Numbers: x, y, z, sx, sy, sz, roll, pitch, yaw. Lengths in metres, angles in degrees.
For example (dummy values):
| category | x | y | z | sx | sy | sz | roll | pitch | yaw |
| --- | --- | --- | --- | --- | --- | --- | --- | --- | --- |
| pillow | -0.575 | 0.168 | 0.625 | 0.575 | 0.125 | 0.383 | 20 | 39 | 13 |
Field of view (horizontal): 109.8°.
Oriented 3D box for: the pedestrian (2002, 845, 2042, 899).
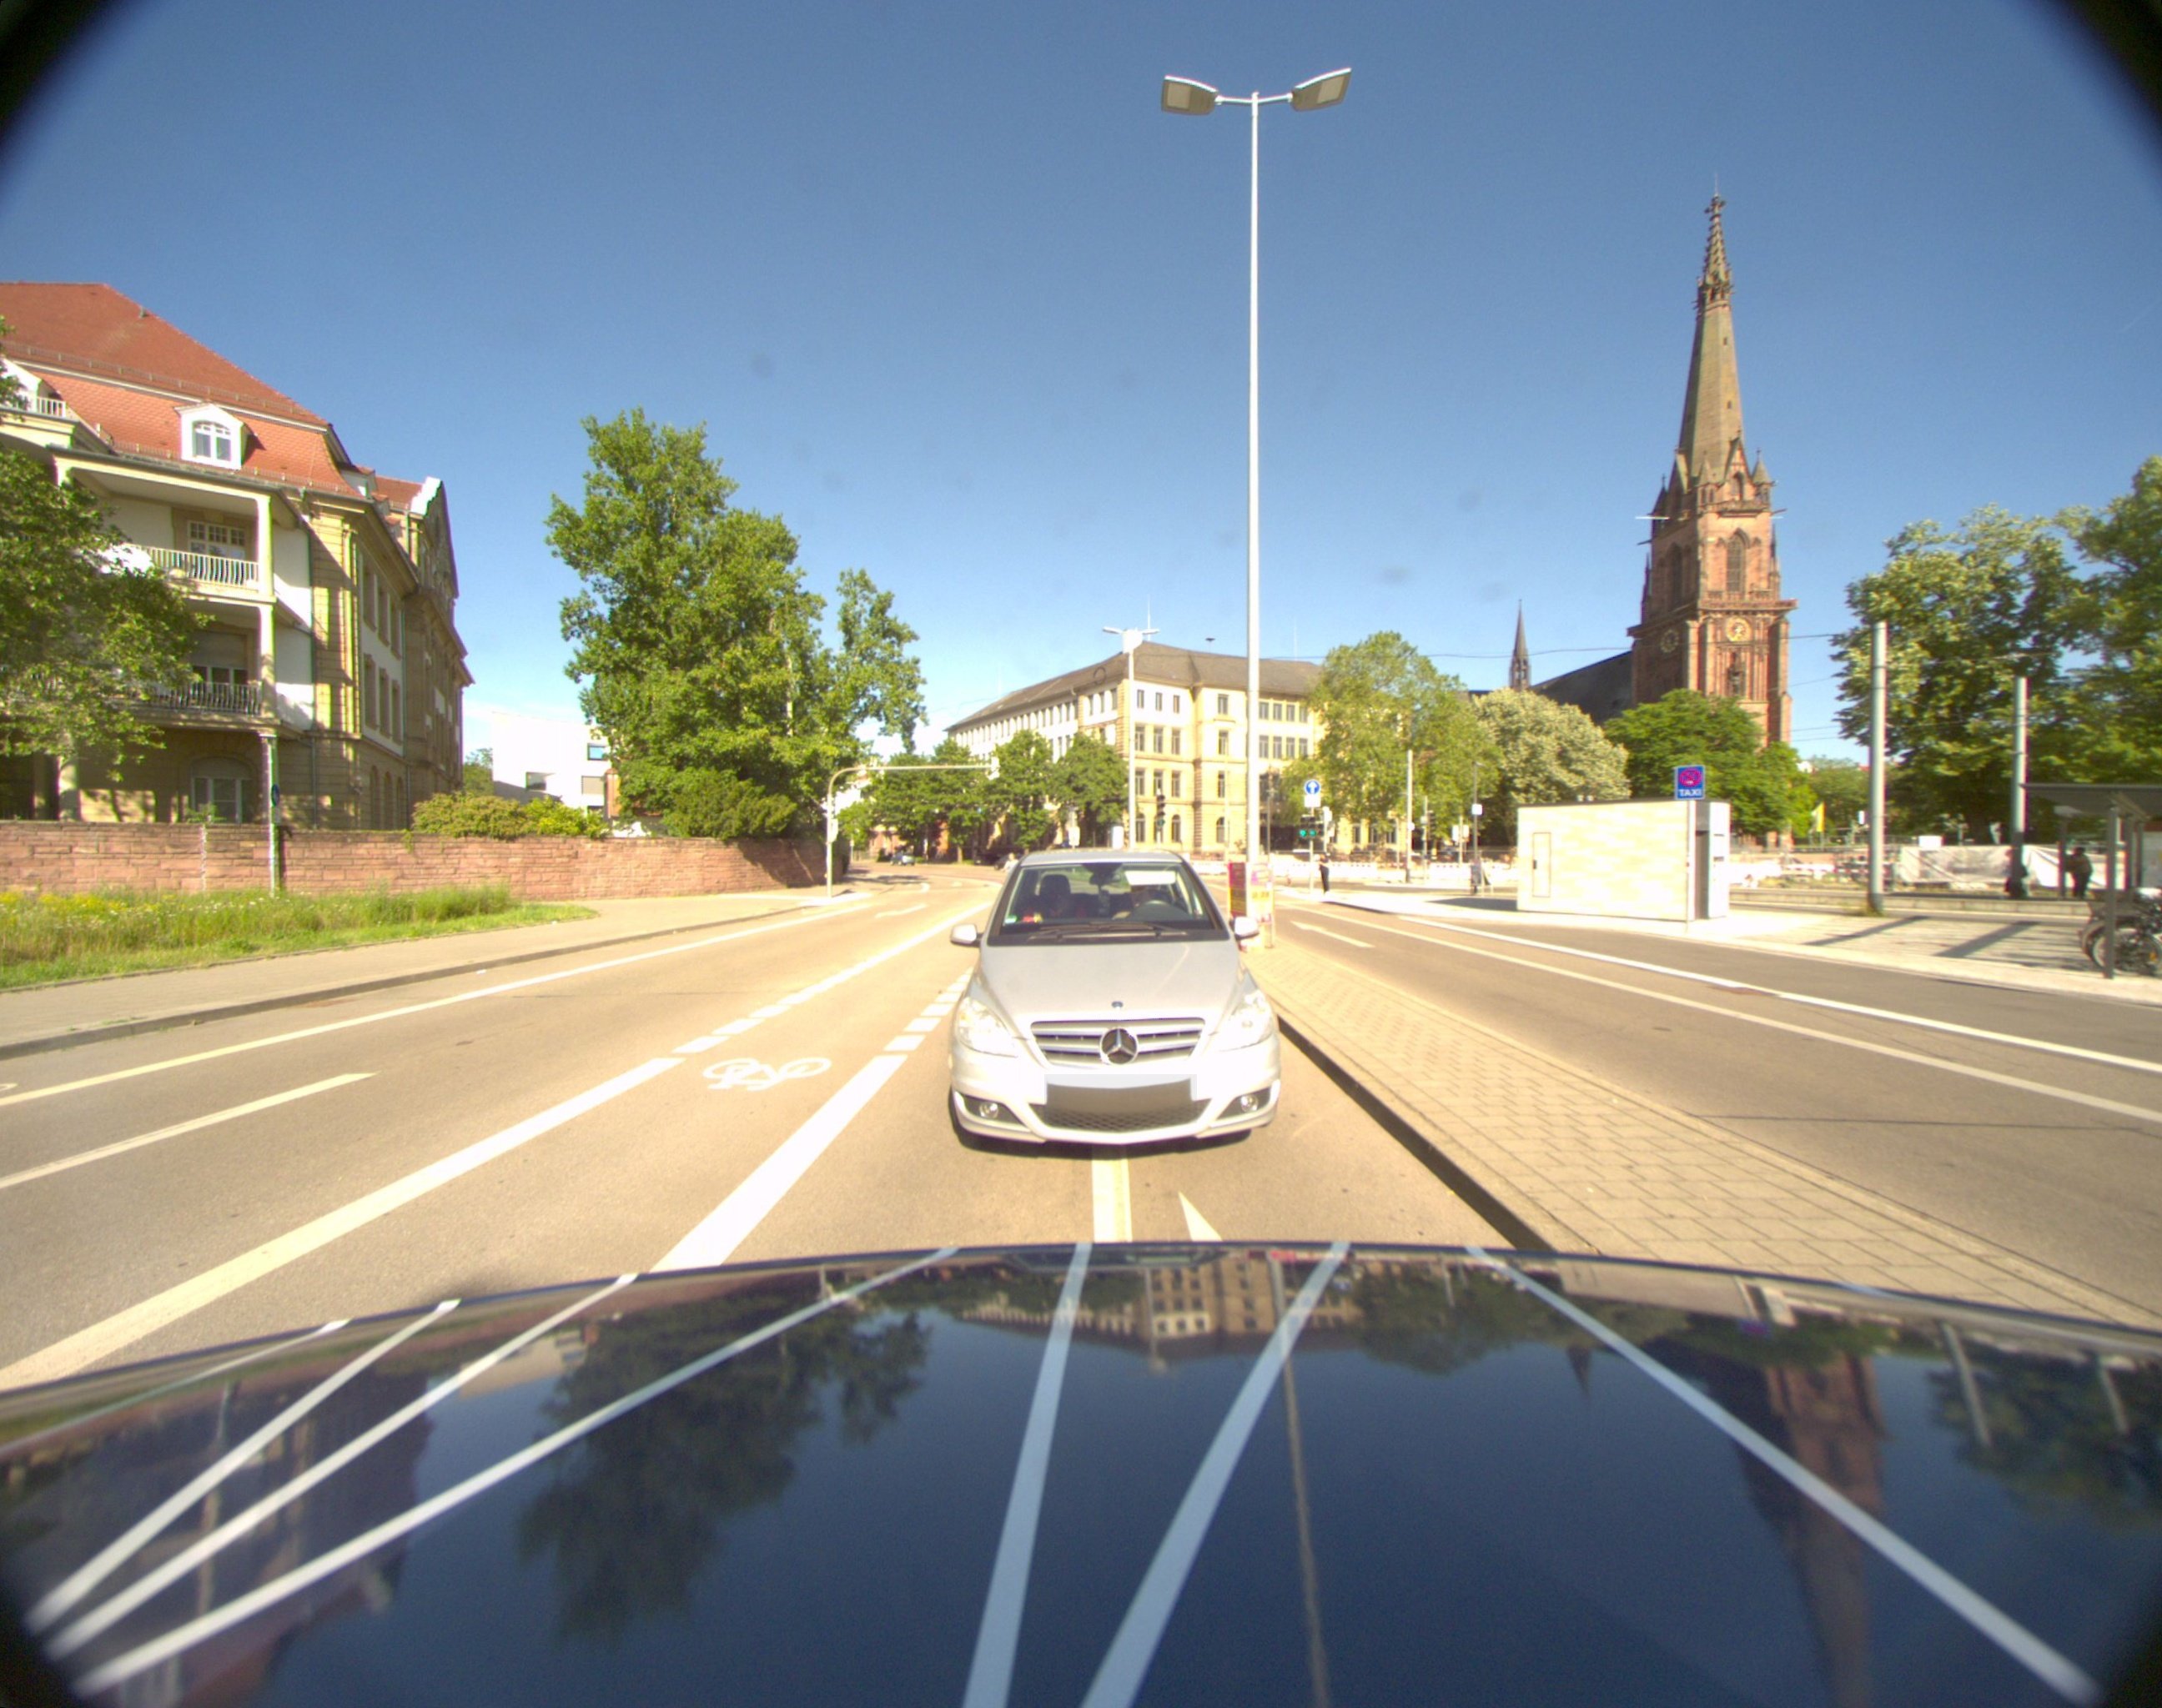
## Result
| category | x | y | z | sx | sy | sz | roll | pitch | yaw |
| --- | --- | --- | --- | --- | --- | --- | --- | --- | --- |
| pedestrian | 31.817 | 0.595 | 25.683 | 0.980 | 1.769 | 0.801 | -1 | 1 | -37 |

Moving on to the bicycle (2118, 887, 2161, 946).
| category | x | y | z | sx | sy | sz | roll | pitch | yaw |
| --- | --- | --- | --- | --- | --- | --- | --- | --- | --- |
| bicycle | 19.121 | 1.099 | 12.948 | 0.458 | 1.003 | 1.667 | -1 | 1 | -33 |

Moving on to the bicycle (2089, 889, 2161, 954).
| category | x | y | z | sx | sy | sz | roll | pitch | yaw |
| --- | --- | --- | --- | --- | --- | --- | --- | --- | --- |
| bicycle | 17.907 | 1.127 | 12.427 | 0.458 | 1.003 | 1.667 | -1 | 1 | -33 |

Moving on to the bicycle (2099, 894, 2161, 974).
| category | x | y | z | sx | sy | sz | roll | pitch | yaw |
| --- | --- | --- | --- | --- | --- | --- | --- | --- | --- |
| bicycle | 15.194 | 1.123 | 10.279 | 0.458 | 1.055 | 1.667 | -1 | 1 | -33 |

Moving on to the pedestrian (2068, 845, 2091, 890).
| category | x | y | z | sx | sy | sz | roll | pitch | yaw |
| --- | --- | --- | --- | --- | --- | --- | --- | --- | --- |
| pedestrian | 37.565 | 0.500 | 28.577 | 0.404 | 1.711 | 0.419 | 1 | 1 | 38 |

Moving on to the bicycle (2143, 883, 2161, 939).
| category | x | y | z | sx | sy | sz | roll | pitch | yaw |
| --- | --- | --- | --- | --- | --- | --- | --- | --- | --- |
| bicycle | 20.481 | 1.063 | 13.610 | 0.458 | 1.003 | 1.667 | -1 | 1 | -33 |

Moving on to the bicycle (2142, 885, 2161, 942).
| category | x | y | z | sx | sy | sz | roll | pitch | yaw |
| --- | --- | --- | --- | --- | --- | --- | --- | --- | --- |
| bicycle | 19.888 | 1.075 | 13.199 | 0.458 | 1.003 | 1.667 | -1 | 1 | -33 |

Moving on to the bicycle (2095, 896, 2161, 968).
| category | x | y | z | sx | sy | sz | roll | pitch | yaw |
| --- | --- | --- | --- | --- | --- | --- | --- | --- | --- |
| bicycle | 16.066 | 1.158 | 10.976 | 0.458 | 1.003 | 1.667 | -1 | 1 | -33 |

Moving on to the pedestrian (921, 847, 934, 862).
| category | x | y | z | sx | sy | sz | roll | pitch | yaw |
| --- | --- | --- | --- | --- | --- | --- | --- | --- | --- |
| pedestrian | -19.916 | 0.062 | 98.572 | 0.934 | 1.812 | 1.394 | 1 | 1 | 45 |

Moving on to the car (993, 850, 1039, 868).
| category | x | y | z | sx | sy | sz | roll | pitch | yaw |
| --- | --- | --- | --- | --- | --- | --- | --- | --- | --- |
| car | -5.930 | 0.462 | 69.332 | 1.798 | 1.490 | 4.561 | 0 | 1 | -42 |

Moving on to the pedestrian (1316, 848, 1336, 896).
| category | x | y | z | sx | sy | sz | roll | pitch | yaw |
| --- | --- | --- | --- | --- | --- | --- | --- | --- | --- |
| pedestrian | 9.613 | 0.690 | 29.856 | 0.693 | 1.844 | 0.679 | 0 | 1 | 12 |

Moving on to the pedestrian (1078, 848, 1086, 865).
| category | x | y | z | sx | sy | sz | roll | pitch | yaw |
| --- | --- | --- | --- | --- | --- | --- | --- | --- | --- |
| pedestrian | 0.129 | 0.269 | 78.859 | 0.677 | 1.714 | 0.588 | -1 | 1 | -22 |

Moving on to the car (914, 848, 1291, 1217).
| category | x | y | z | sx | sy | sz | roll | pitch | yaw |
| --- | --- | --- | --- | --- | --- | --- | --- | --- | --- |
| car | 0.073 | 0.807 | 5.464 | 1.706 | 1.657 | 3.913 | -1 | 1 | -1 |

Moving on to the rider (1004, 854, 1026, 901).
| category | x | y | z | sx | sy | sz | roll | pitch | yaw |
| --- | --- | --- | --- | --- | --- | --- | --- | --- | --- |
| rider | -2.325 | 0.821 | 26.737 | 0.658 | 1.610 | 0.989 | -1 | 1 | 1 |

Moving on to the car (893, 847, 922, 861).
| category | x | y | z | sx | sy | sz | roll | pitch | yaw |
| --- | --- | --- | --- | --- | --- | --- | --- | --- | --- |
| car | -20.784 | 0.025 | 90.832 | 1.865 | 1.533 | 4.229 | 1 | 1 | -34 |

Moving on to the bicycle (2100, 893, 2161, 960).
| category | x | y | z | sx | sy | sz | roll | pitch | yaw |
| --- | --- | --- | --- | --- | --- | --- | --- | --- | --- |
| bicycle | 17.253 | 1.147 | 11.654 | 0.458 | 1.003 | 1.899 | -1 | 1 | -33 |

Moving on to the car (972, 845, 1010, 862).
| category | x | y | z | sx | sy | sz | roll | pitch | yaw |
| --- | --- | --- | --- | --- | --- | --- | --- | --- | --- |
| car | -10.732 | -0.039 | 90.761 | 1.994 | 2.002 | 4.721 | 0 | 1 | 32 |

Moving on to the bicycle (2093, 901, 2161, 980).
| category | x | y | z | sx | sy | sz | roll | pitch | yaw |
| --- | --- | --- | --- | --- | --- | --- | --- | --- | --- |
| bicycle | 14.693 | 1.171 | 9.964 | 0.458 | 1.003 | 1.667 | -1 | 1 | -33 |
